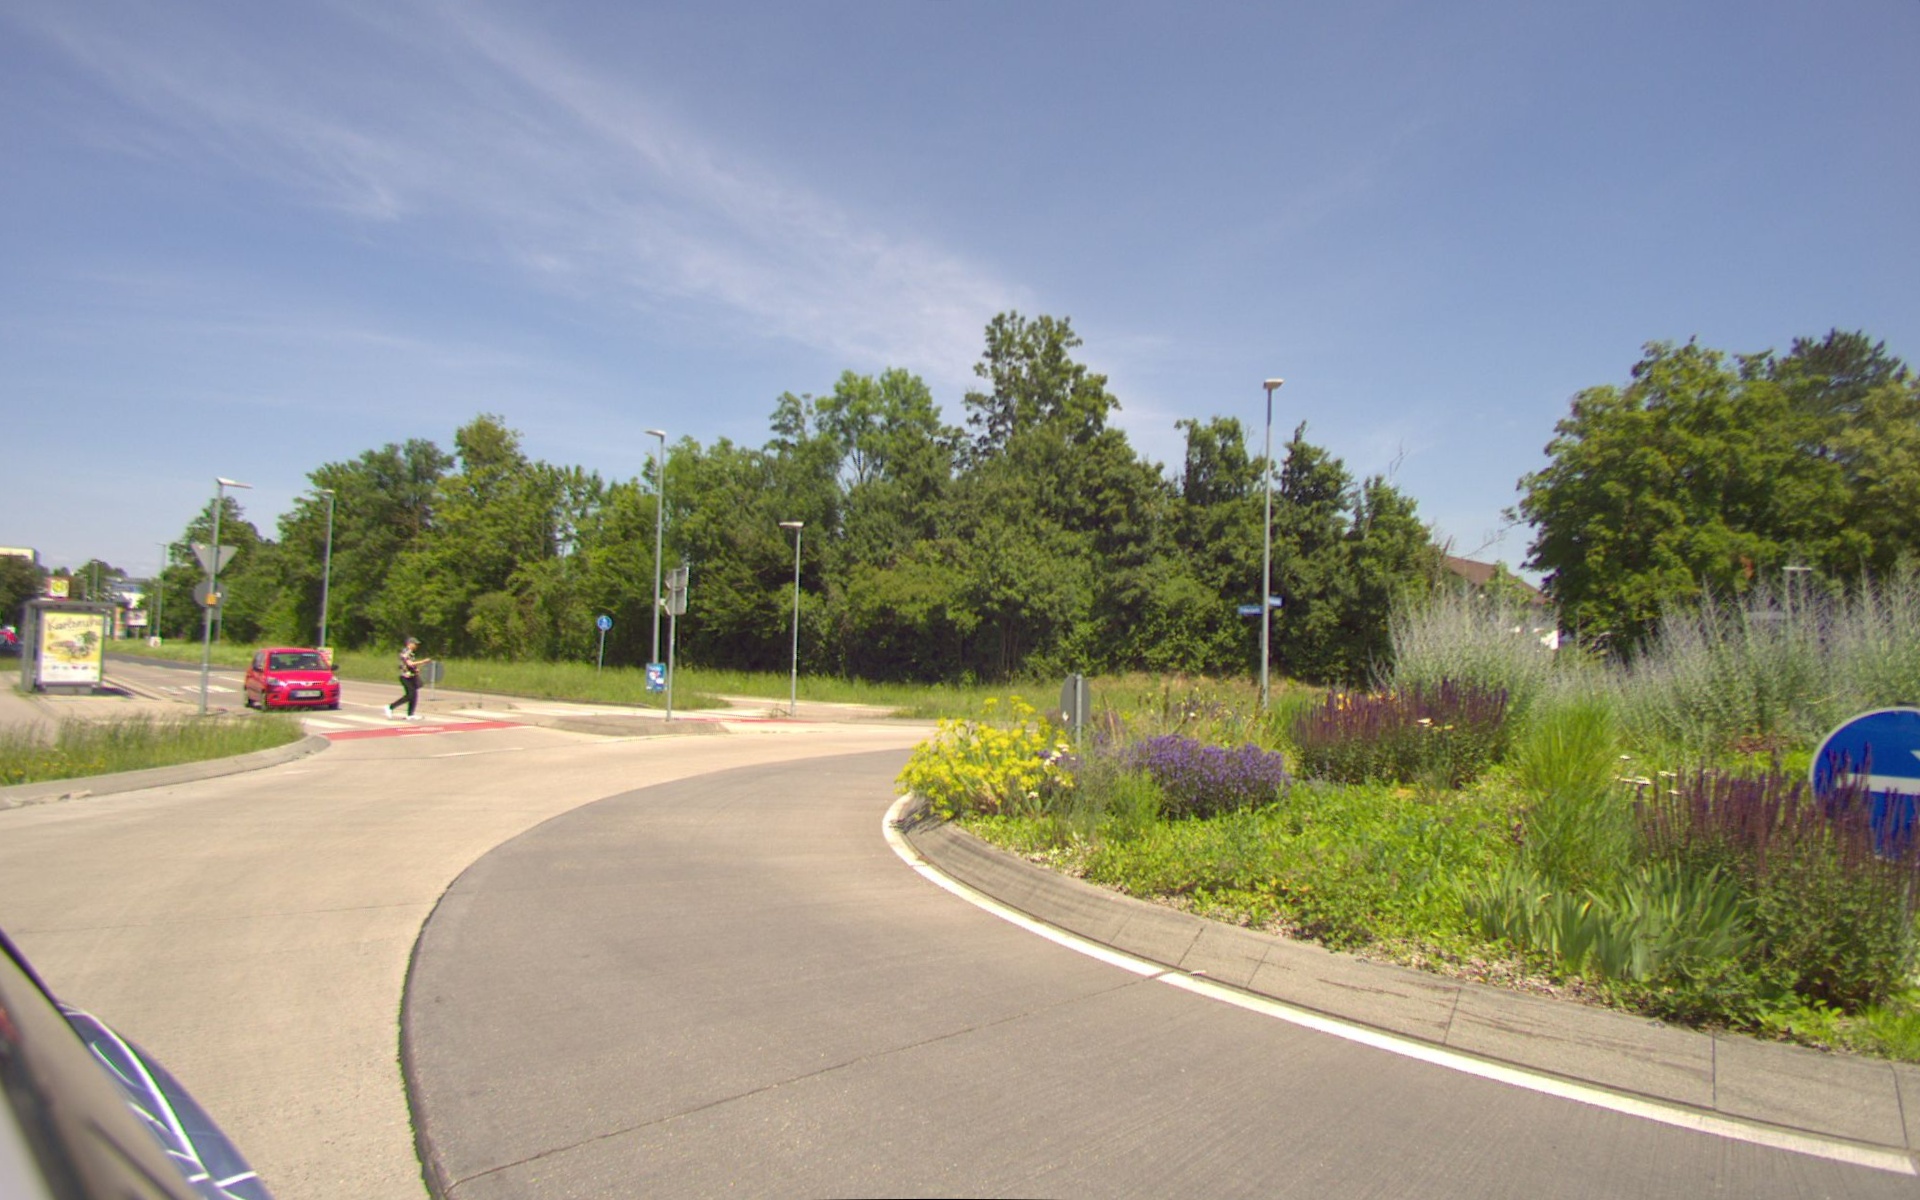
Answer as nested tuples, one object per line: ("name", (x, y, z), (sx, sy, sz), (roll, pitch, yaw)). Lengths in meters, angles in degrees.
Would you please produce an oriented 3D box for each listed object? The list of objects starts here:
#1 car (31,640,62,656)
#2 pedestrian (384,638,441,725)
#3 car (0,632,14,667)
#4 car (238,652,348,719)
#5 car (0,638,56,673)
("car", (-91.944, 4.860, 101.848), (4.290, 1.490, 1.971), (-3, -7, 44))
("pedestrian", (-11.820, 1.755, 21.860), (0.826, 1.836, 0.700), (-2, -7, 43))
("car", (-46.986, 2.234, 47.275), (1.840, 1.668, 3.941), (-2, -5, 45))
("car", (-16.829, 2.093, 25.482), (1.639, 1.515, 3.359), (4, -4, -45))
("car", (-44.201, 2.432, 45.874), (1.827, 1.443, 4.519), (-1, -6, 41))
